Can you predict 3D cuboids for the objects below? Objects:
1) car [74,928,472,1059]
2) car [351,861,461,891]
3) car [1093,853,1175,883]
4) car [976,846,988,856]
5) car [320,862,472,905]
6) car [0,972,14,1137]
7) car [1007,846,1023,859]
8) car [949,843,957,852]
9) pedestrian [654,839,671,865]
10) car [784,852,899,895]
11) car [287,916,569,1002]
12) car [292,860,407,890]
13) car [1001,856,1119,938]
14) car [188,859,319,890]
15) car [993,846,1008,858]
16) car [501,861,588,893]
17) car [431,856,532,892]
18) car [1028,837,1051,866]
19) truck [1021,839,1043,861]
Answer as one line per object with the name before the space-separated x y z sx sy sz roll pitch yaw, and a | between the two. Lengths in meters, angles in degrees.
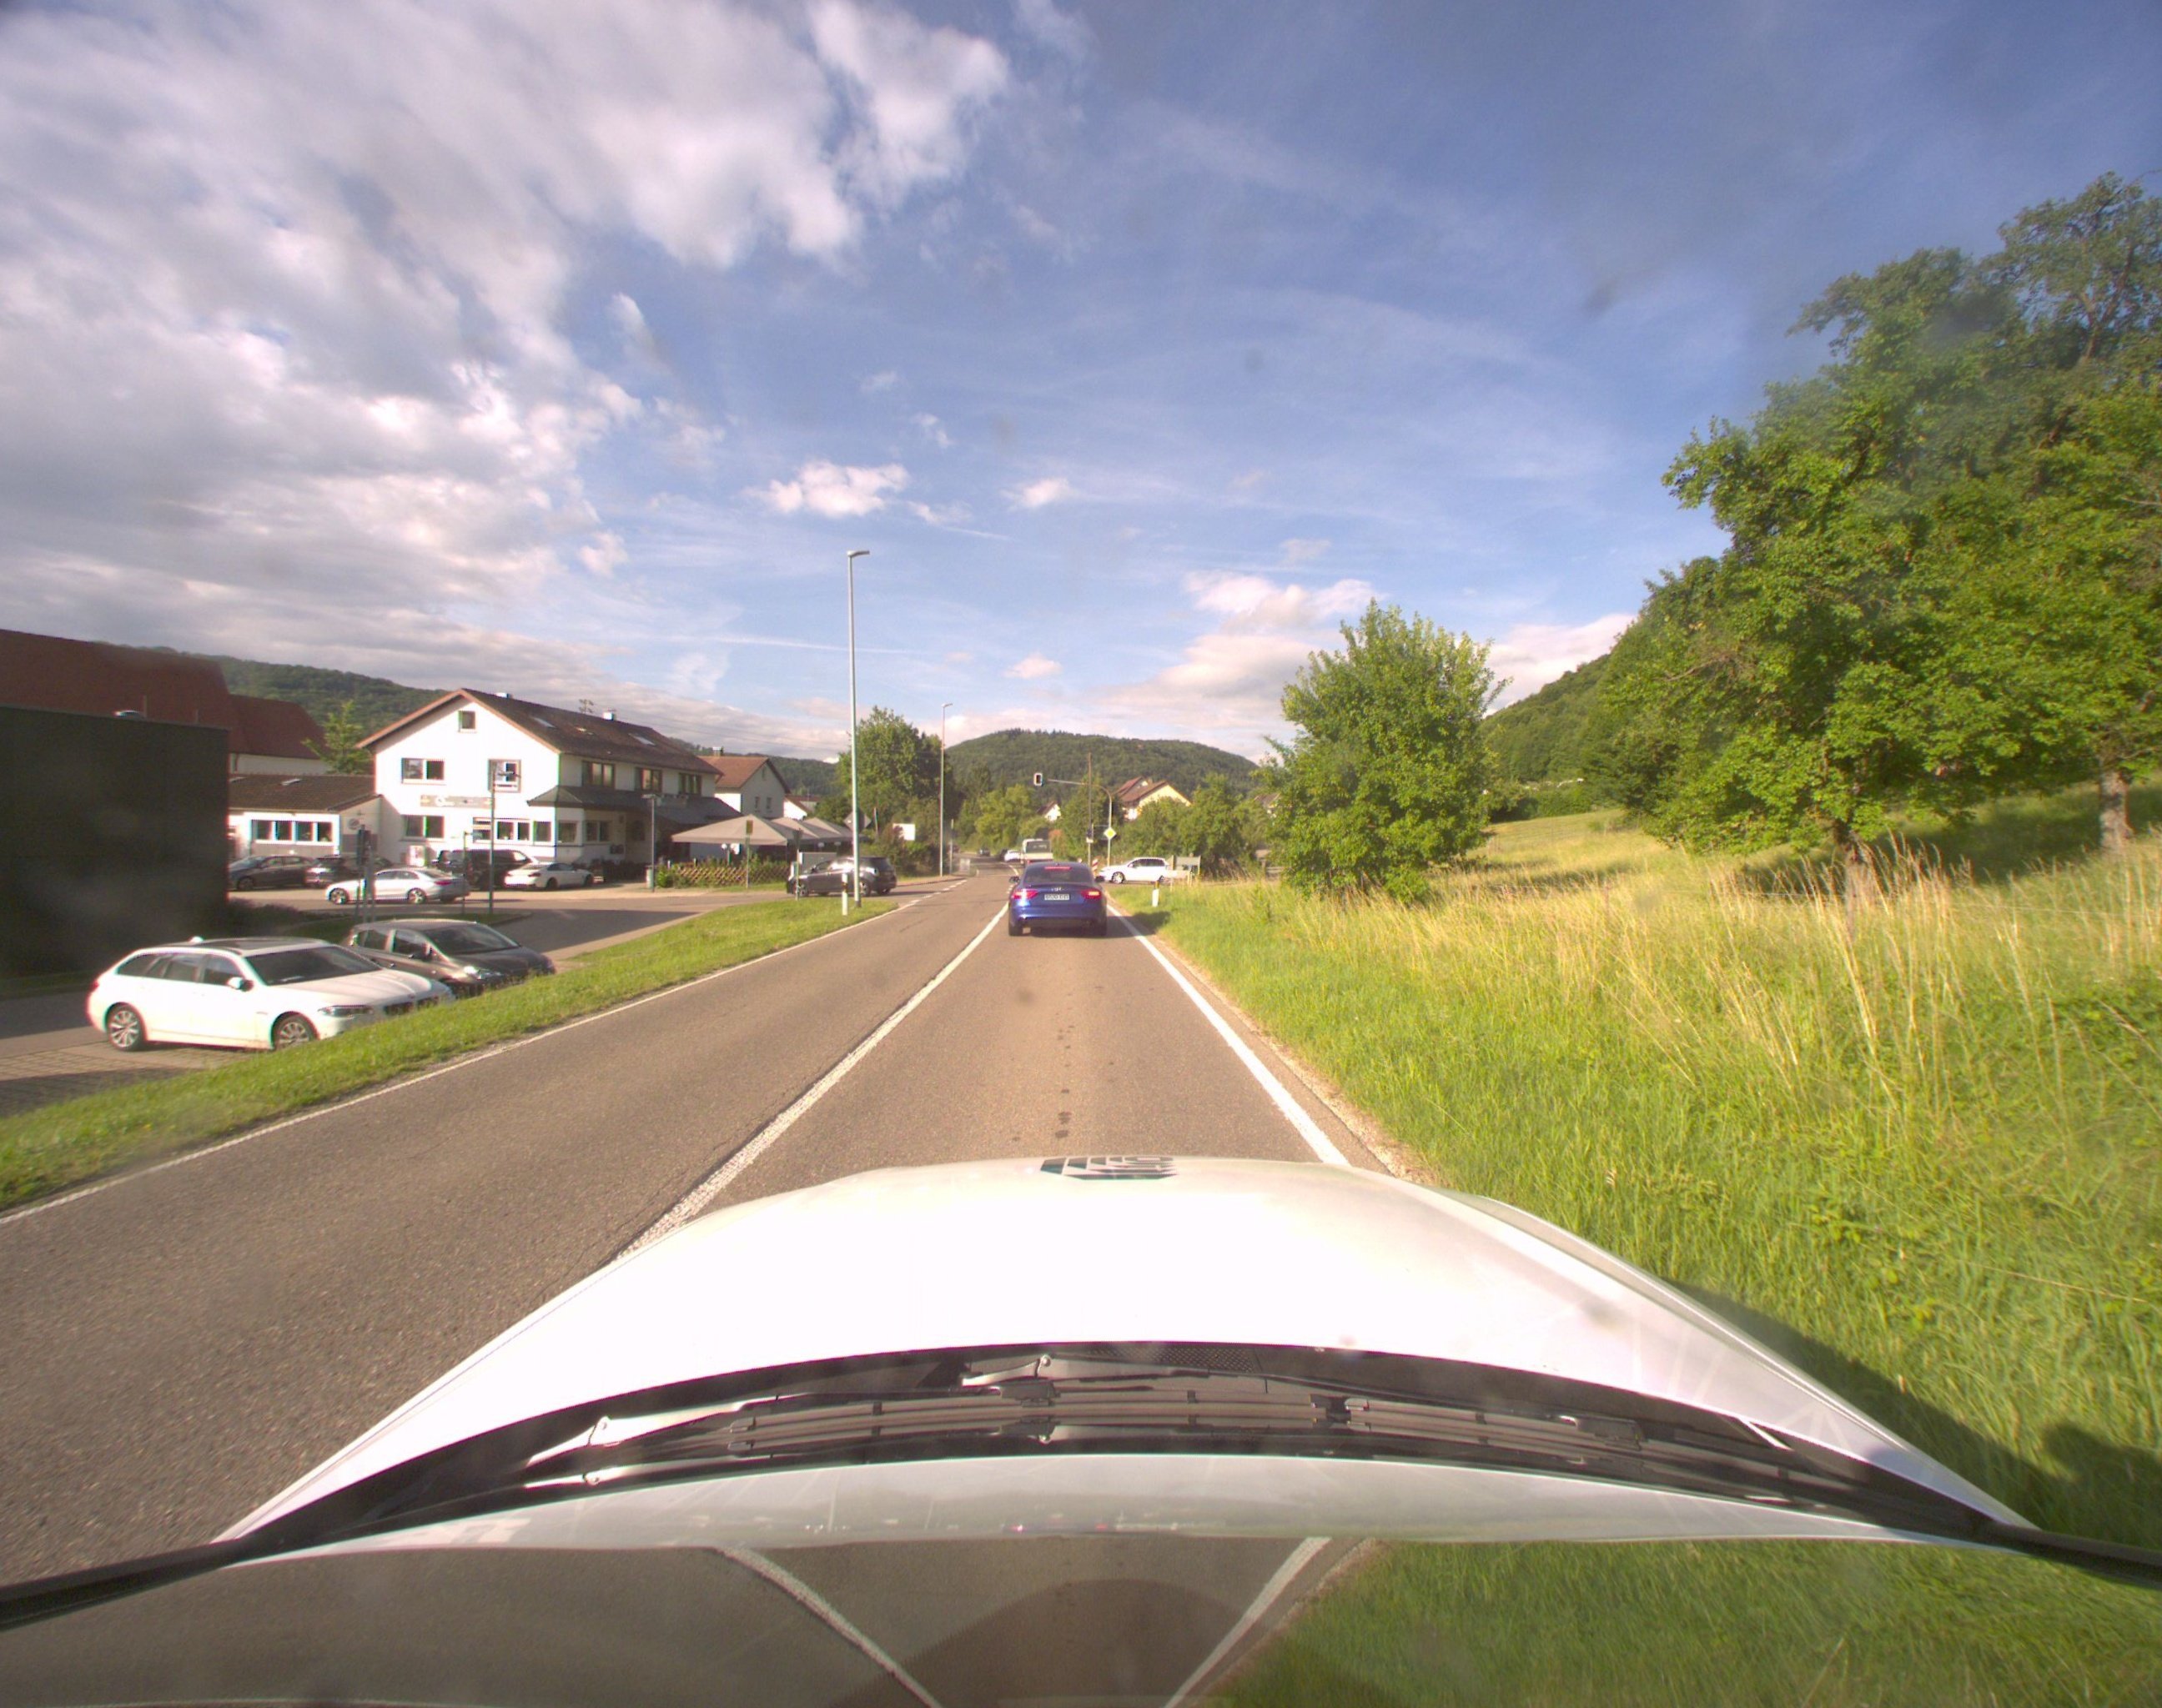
car | -11.854 1.945 12.045 4.780 1.493 1.888 0 -1 13
car | -31.922 1.018 38.656 1.835 1.354 4.000 0 -1 1
car | 2.836 0.743 43.714 4.048 1.508 1.847 0 -1 -13
car | -15.407 -0.492 126.974 1.695 1.490 3.520 0 -1 -5
car | -27.326 1.148 32.593 4.438 1.639 1.809 0 -1 -3
car | -12.965 2.017 7.680 3.997 1.637 2.007 0 -1 13
car | -7.698 -0.145 94.490 1.696 1.490 3.517 0 -1 -8
car | -25.271 -1.284 160.951 1.625 1.576 3.669 0 -1 -8
pedestrian | -23.602 -0.110 45.936 0.606 1.503 0.590 0 -1 1
car | -9.455 0.769 32.264 3.964 1.639 1.756 0 -1 8
car | -11.833 1.855 14.882 3.963 1.310 1.765 0 -1 9
car | -34.778 0.989 38.869 1.835 1.354 4.000 0 -1 1
car | -0.277 0.773 16.106 1.786 1.388 4.006 -1 -1 6
car | -38.066 0.917 37.622 1.834 1.354 4.002 0 -1 2
car | -10.483 -0.300 105.822 1.698 1.490 3.513 0 -1 -11
car | -26.284 1.098 40.064 1.550 1.450 4.001 0 -1 1
car | -29.171 0.961 39.793 1.880 1.662 4.001 0 -1 1
car | -3.243 -0.187 63.601 1.742 2.195 3.996 0 -1 -3
truck | -4.683 -0.348 77.237 1.696 1.953 5.906 0 -1 -8
